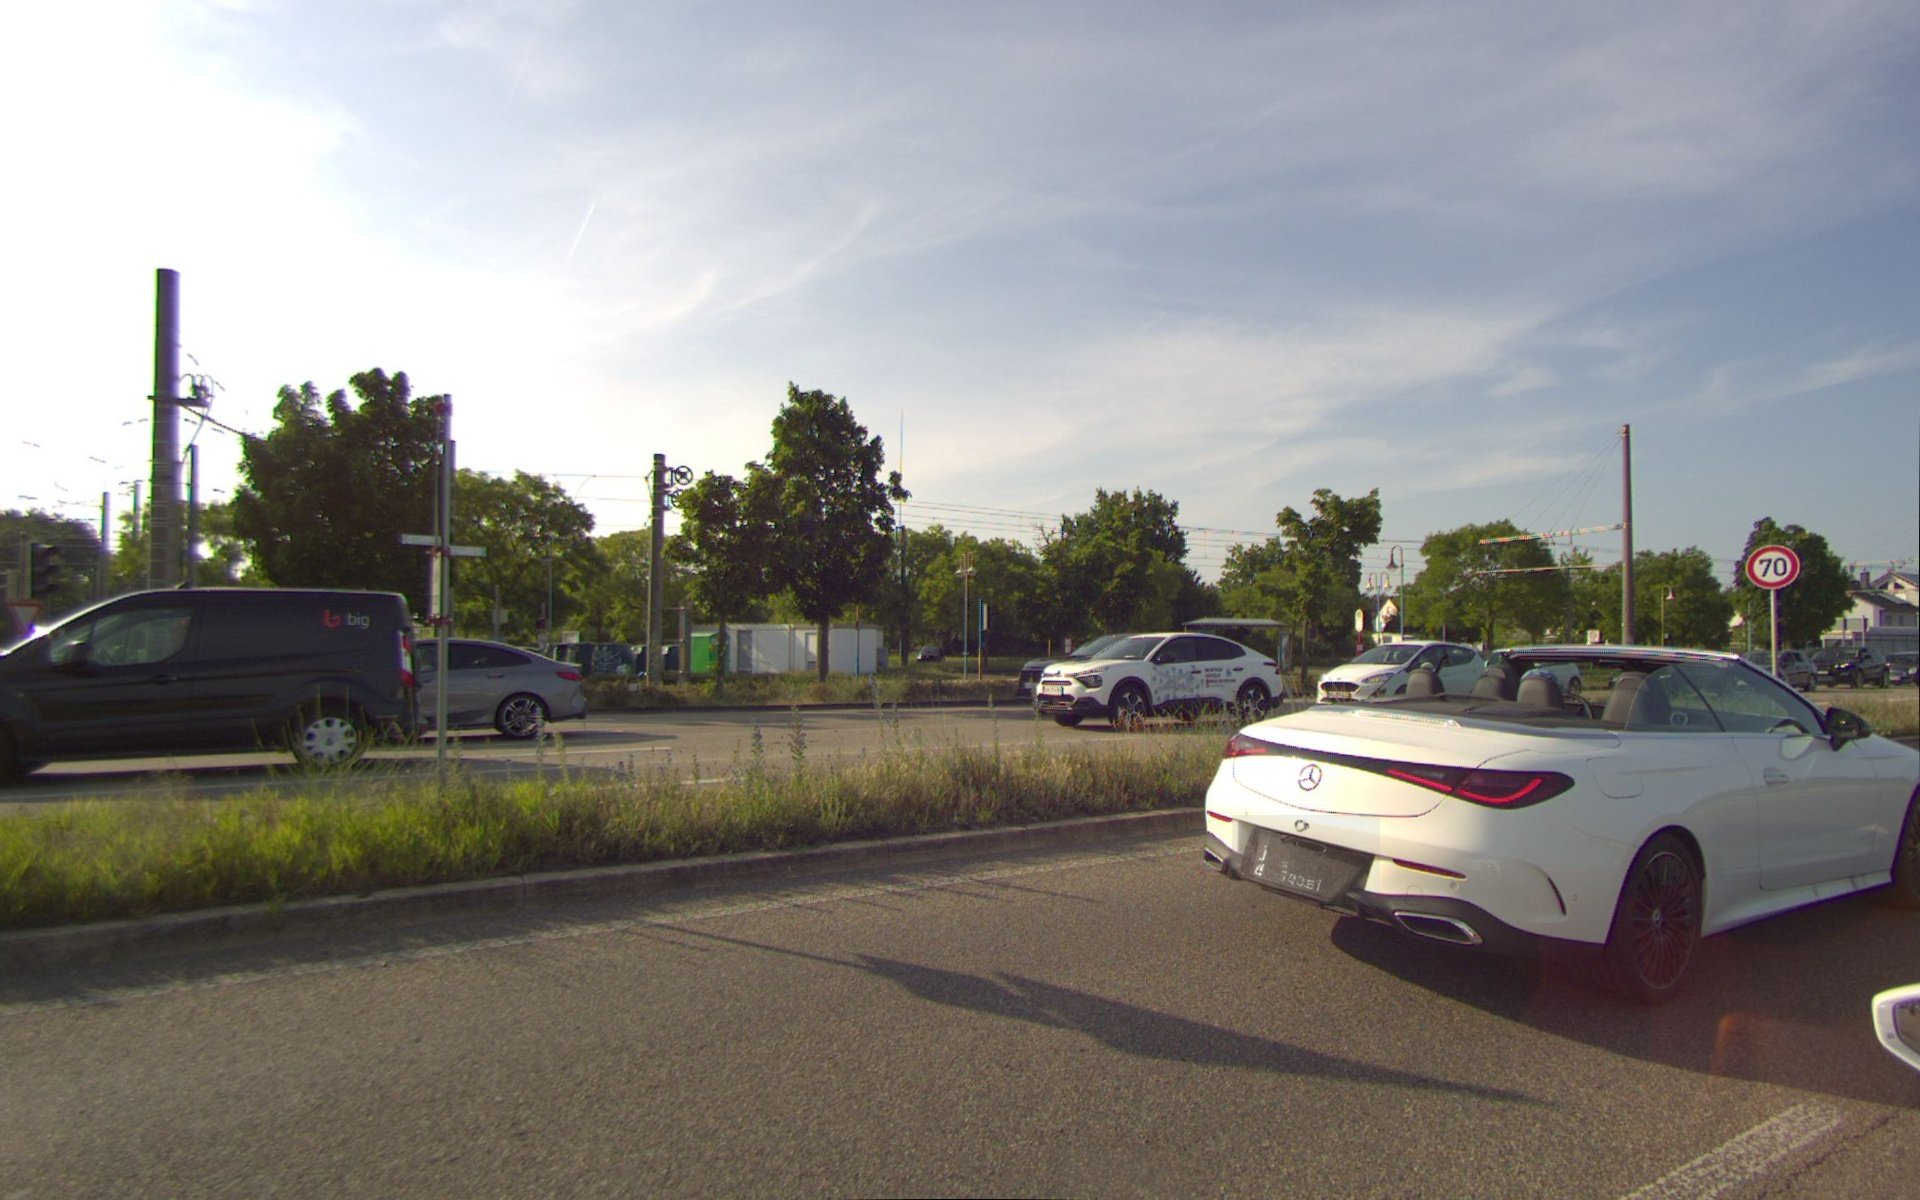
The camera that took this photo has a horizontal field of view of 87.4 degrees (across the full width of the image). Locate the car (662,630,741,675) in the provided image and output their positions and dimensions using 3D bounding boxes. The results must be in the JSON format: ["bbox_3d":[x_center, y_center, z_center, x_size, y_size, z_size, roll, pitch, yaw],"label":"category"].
[{"bbox_3d":[-12.040,2.415,46.739,3.622,1.902,1.824,1,-1,42],"label":"car"}]

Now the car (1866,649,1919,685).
[{"bbox_3d":[39.956,2.816,42.262,3.761,1.450,1.653,2,-4,-31],"label":"car"}]

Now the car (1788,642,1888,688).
[{"bbox_3d":[34.201,2.536,39.113,4.180,1.709,1.653,2,-4,-31],"label":"car"}]

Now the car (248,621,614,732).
[{"bbox_3d":[-7.348,1.053,14.298,4.322,1.362,1.850,2,-4,-30],"label":"car"}]

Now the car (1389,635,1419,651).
[{"bbox_3d":[43.651,4.234,98.876,1.700,1.384,3.626,-1,-4,7],"label":"car"}]

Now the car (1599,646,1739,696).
[{"bbox_3d":[21.894,2.163,30.962,4.918,1.433,1.653,2,-4,-31],"label":"car"}]

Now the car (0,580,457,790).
[{"bbox_3d":[-7.507,0.798,9.867,4.476,1.768,1.850,2,-4,-30],"label":"car"}]

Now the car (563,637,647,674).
[{"bbox_3d":[-16.179,2.492,45.670,3.939,1.439,1.826,1,-1,39],"label":"car"}]

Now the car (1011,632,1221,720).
[{"bbox_3d":[3.168,1.496,20.268,3.954,1.610,1.789,2,-4,-31],"label":"car"}]

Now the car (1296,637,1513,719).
[{"bbox_3d":[8.911,1.525,20.072,4.243,1.489,1.811,2,-4,-30],"label":"car"}]

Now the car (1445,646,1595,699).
[{"bbox_3d":[15.670,2.000,28.046,4.417,1.399,1.653,2,-4,-31],"label":"car"}]

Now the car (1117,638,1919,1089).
[{"bbox_3d":[3.290,0.929,5.172,4.892,1.355,1.763,2,-1,-30],"label":"car"}]

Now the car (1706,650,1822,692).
[{"bbox_3d":[28.052,2.451,35.002,4.489,1.399,1.653,2,-4,-31],"label":"car"}]

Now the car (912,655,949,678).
[{"bbox_3d":[-2.127,4.827,73.557,1.921,1.432,4.160,1,-1,8],"label":"car"}]

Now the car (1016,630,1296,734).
[{"bbox_3d":[3.296,1.311,16.635,4.529,1.527,1.744,2,-4,-30],"label":"car"}]

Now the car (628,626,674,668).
[{"bbox_3d":[-15.276,2.285,49.539,1.808,1.902,3.655,2,0,-23],"label":"car"}]
